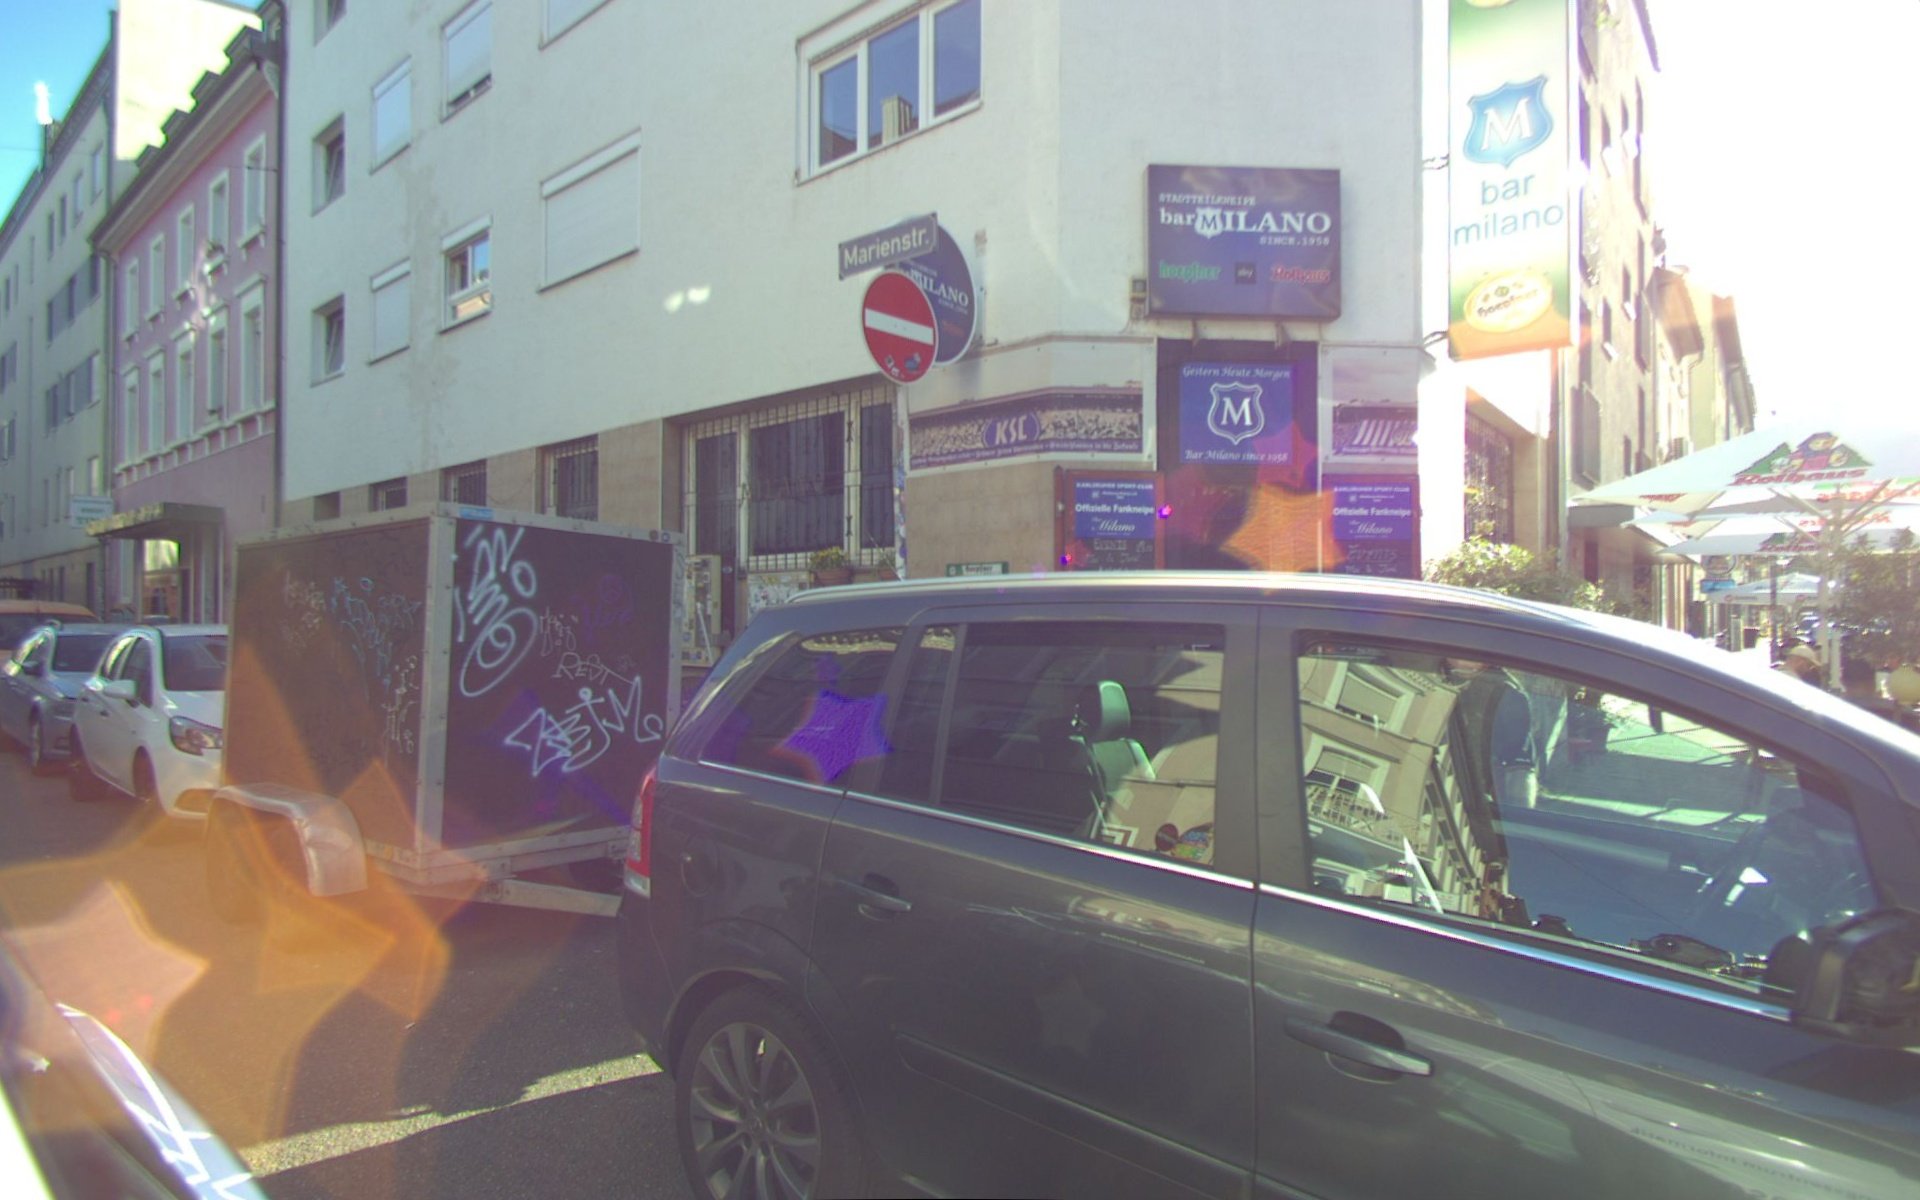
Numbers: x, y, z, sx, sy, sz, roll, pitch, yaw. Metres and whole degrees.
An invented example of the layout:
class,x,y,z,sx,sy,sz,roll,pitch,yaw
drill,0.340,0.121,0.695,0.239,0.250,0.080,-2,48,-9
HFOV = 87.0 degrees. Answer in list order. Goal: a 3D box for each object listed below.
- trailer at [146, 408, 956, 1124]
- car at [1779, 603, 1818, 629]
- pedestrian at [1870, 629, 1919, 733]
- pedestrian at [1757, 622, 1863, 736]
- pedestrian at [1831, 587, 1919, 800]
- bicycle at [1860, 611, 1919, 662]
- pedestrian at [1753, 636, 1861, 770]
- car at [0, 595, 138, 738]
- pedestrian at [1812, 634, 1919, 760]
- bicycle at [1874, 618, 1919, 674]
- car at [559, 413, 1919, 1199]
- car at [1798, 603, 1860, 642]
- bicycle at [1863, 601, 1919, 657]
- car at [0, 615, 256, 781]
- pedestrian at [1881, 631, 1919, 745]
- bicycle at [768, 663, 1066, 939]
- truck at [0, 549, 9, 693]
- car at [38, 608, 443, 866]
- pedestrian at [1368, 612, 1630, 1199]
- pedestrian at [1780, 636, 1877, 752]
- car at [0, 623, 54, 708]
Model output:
class,x,y,z,sx,sy,sz,roll,pitch,yaw
trailer,-2.249,0.516,4.939,4.357,2.077,1.646,-1,-2,37
car,53.272,1.021,64.310,1.769,1.587,4.104,-1,-1,38
pedestrian,10.276,0.858,10.895,0.678,1.062,0.713,-1,0,44
pedestrian,9.035,0.822,10.770,0.534,1.153,0.661,-1,0,-6
pedestrian,5.916,0.556,6.341,0.660,1.275,0.678,-1,0,43
bicycle,20.763,0.789,21.877,1.928,1.078,0.603,-1,0,45
pedestrian,8.006,0.941,9.568,0.650,1.163,0.682,-1,0,-41
car,-13.804,0.894,14.928,4.240,1.859,1.784,-1,-2,40
pedestrian,8.952,0.922,9.888,0.678,1.153,0.661,-1,0,-6
bicycle,19.409,0.911,20.026,1.928,1.078,0.603,-1,0,45
car,1.084,0.649,2.113,4.160,1.618,1.705,-2,-3,38
car,36.332,0.916,42.408,1.769,1.581,4.104,-1,-1,38
bicycle,18.770,0.556,19.564,1.928,1.078,0.603,-1,0,45
car,-9.619,0.972,11.342,4.526,1.508,1.656,-2,-3,40
pedestrian,11.265,1.010,11.628,0.669,1.275,0.725,-1,0,-8
bicycle,-0.244,0.930,5.135,1.458,1.147,0.571,-1,0,35
truck,-24.790,0.474,24.168,7.041,3.207,2.267,-1,-2,41
car,-5.821,0.876,8.032,3.814,1.566,1.660,-1,-3,40
pedestrian,1.758,0.881,3.302,0.621,1.656,0.581,-1,1,-44
pedestrian,10.173,1.080,11.867,0.648,1.275,0.617,-1,0,-20
car,-18.411,1.180,18.899,3.657,1.477,1.666,-1,-2,40
